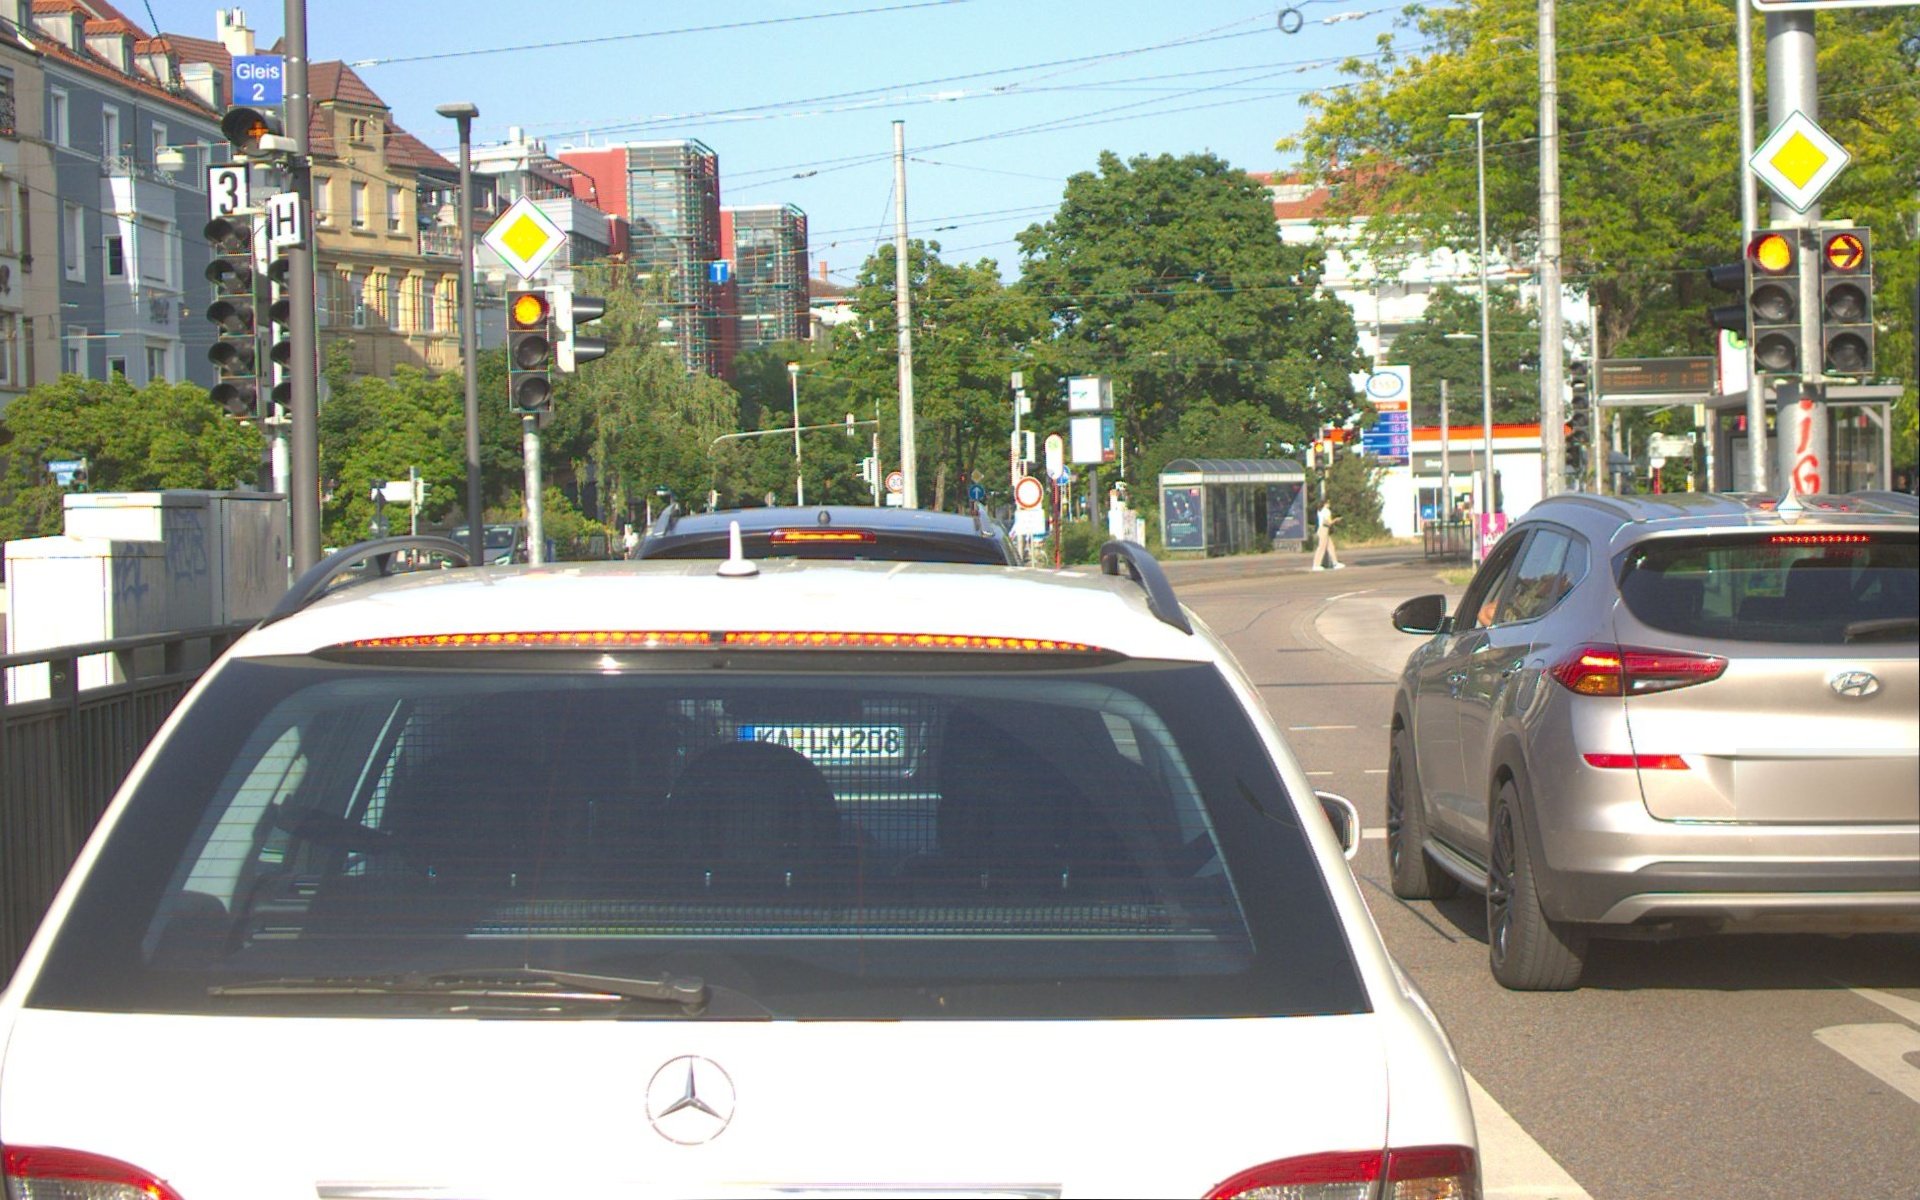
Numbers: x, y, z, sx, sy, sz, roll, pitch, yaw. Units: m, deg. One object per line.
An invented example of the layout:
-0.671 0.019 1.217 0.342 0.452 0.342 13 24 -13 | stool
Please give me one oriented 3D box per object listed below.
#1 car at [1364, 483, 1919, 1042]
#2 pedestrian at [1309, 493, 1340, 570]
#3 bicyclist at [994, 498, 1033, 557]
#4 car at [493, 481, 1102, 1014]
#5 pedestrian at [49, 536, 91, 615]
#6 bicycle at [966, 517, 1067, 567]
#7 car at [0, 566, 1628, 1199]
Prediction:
2.622 0.440 12.150 1.885 1.645 3.648 -2 1 0 | car
8.841 -1.662 83.403 0.642 1.850 0.551 -1 1 11 | pedestrian
1.378 -1.878 88.758 0.861 1.476 0.789 -1 1 9 | bicyclist
-0.523 0.423 12.570 1.885 1.645 3.648 1 1 0 | car
-19.048 -0.524 73.588 0.584 1.654 0.621 -1 1 18 | pedestrian
1.458 -1.495 88.757 2.483 1.209 0.806 -1 1 8 | bicycle
-0.316 0.704 5.005 1.796 1.465 3.648 0 1 -1 | car
